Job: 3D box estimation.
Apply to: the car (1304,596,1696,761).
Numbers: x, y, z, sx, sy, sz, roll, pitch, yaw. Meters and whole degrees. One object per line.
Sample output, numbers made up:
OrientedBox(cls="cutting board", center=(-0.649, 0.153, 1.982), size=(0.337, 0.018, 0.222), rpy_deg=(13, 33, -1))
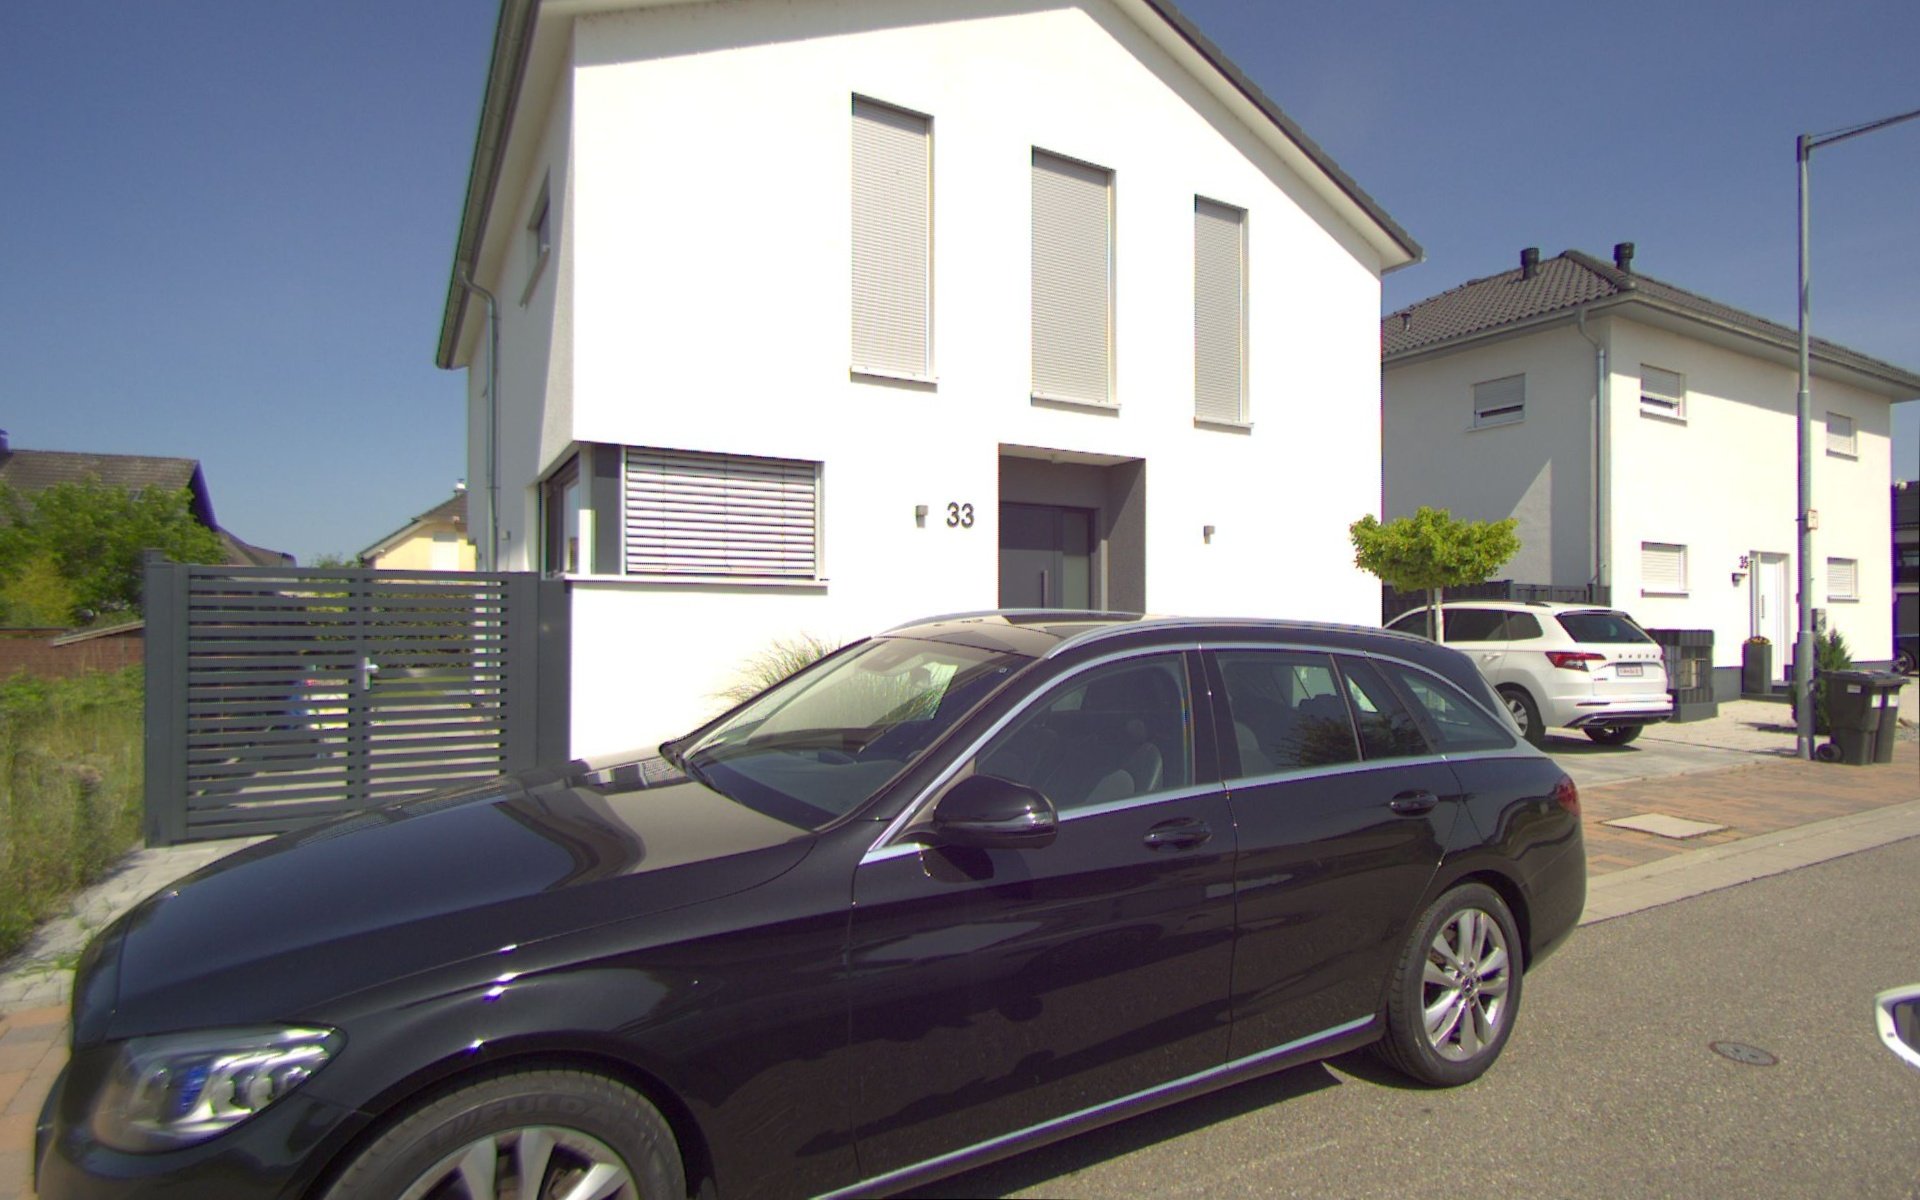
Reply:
OrientedBox(cls="car", center=(6.274, 0.820, 12.184), size=(1.769, 1.641, 3.943), rpy_deg=(1, -1, -25))

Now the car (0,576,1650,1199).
OrientedBox(cls="car", center=(0.118, 0.738, 3.184), size=(4.393, 1.492, 1.682), rpy_deg=(1, 1, -31))

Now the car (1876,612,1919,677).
OrientedBox(cls="car", center=(23.565, 1.052, 22.535), size=(1.737, 1.471, 4.351), rpy_deg=(1, 0, -43))

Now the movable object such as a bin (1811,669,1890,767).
OrientedBox(cls="movable object such as a bin", center=(9.121, 1.189, 10.291), size=(0.525, 0.938, 0.483), rpy_deg=(1, -1, -33))

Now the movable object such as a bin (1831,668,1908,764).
OrientedBox(cls="movable object such as a bin", center=(9.579, 1.204, 10.581), size=(0.525, 0.938, 0.483), rpy_deg=(1, -1, -33))
